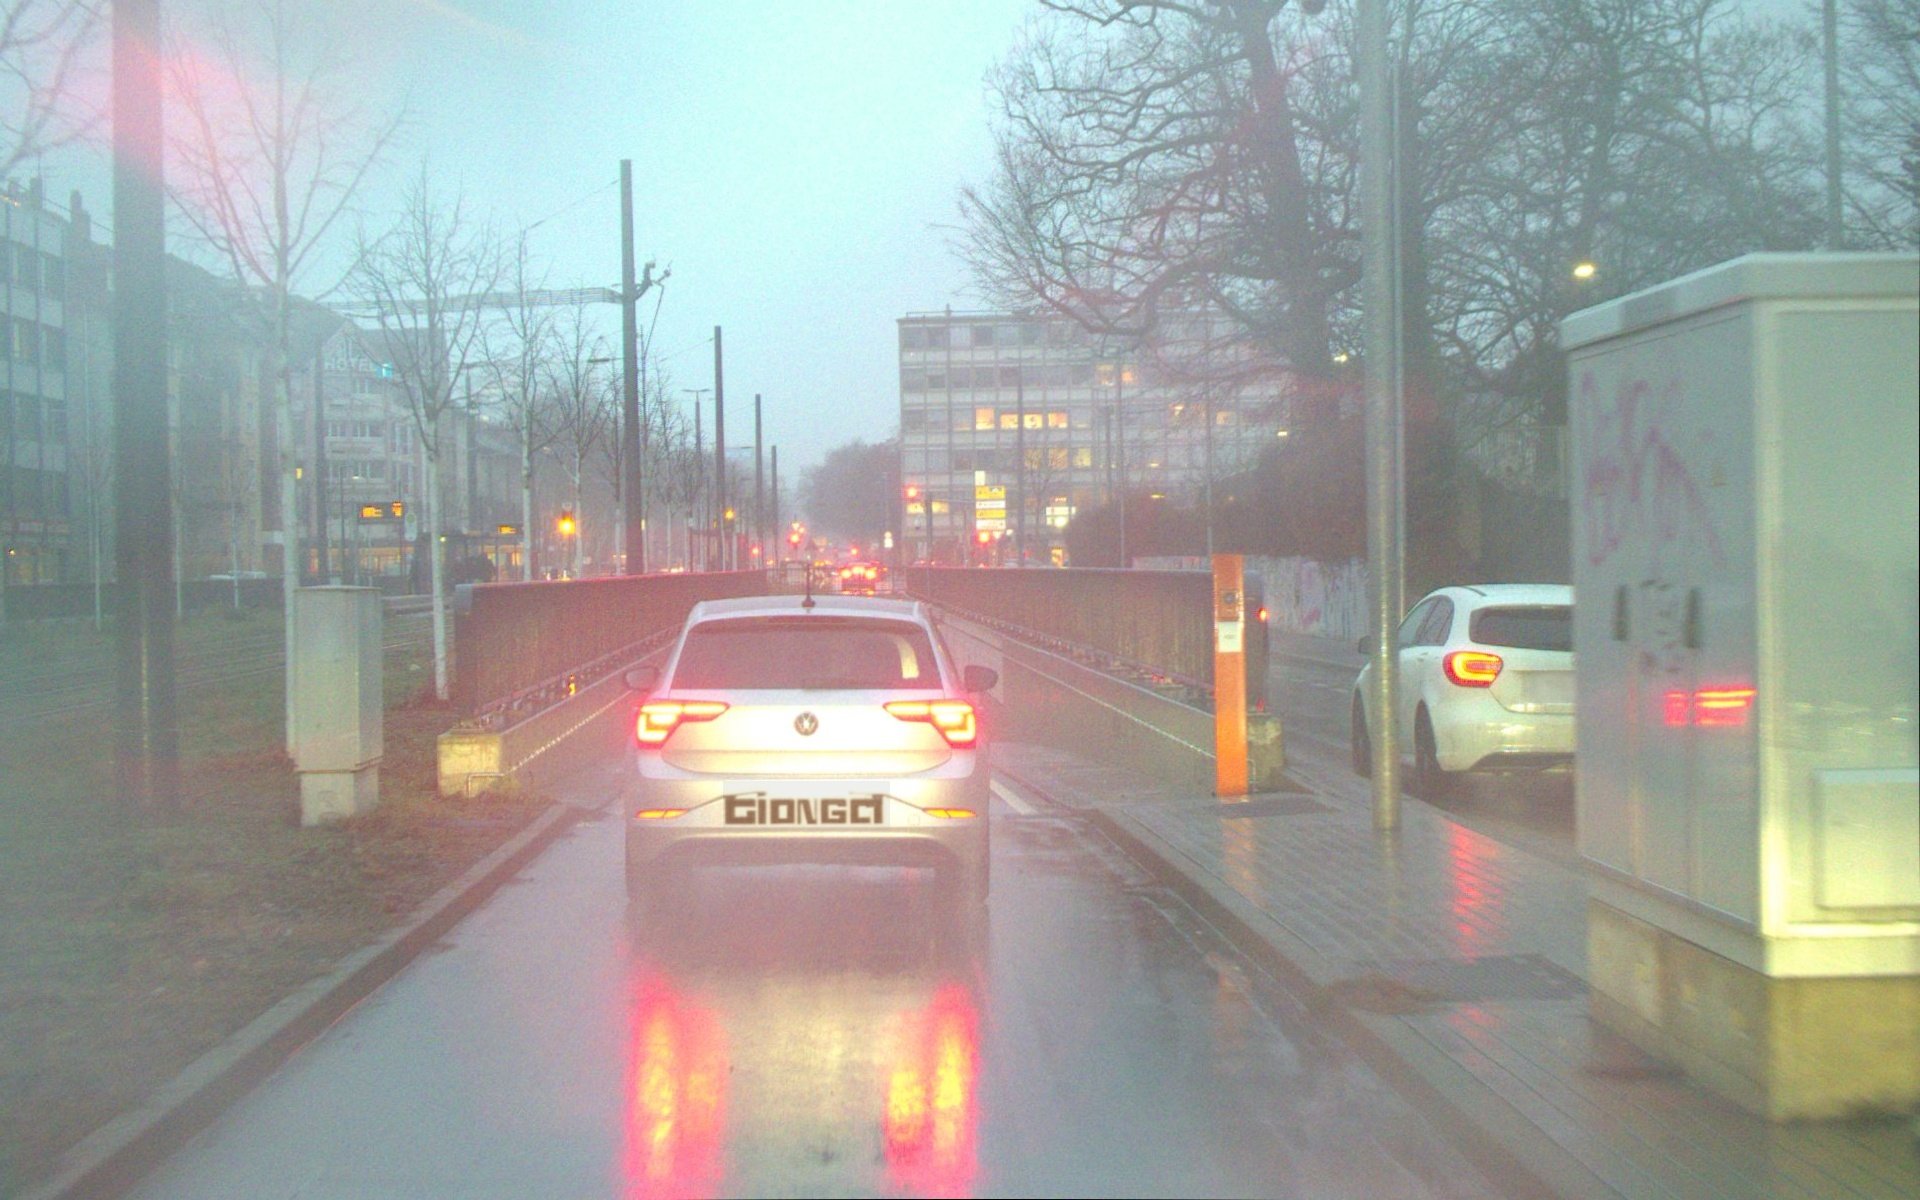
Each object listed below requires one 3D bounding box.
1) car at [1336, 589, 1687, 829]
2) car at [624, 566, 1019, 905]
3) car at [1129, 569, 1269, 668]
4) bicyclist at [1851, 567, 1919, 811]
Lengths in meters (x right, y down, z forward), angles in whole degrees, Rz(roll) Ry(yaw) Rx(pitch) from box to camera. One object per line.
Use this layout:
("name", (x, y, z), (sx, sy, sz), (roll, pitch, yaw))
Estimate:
("car", (3.677, 0.685, 23.563), (1.722, 1.474, 4.000), (1, 0, 0))
("car", (-0.621, 0.598, 17.240), (1.722, 1.474, 4.000), (1, 0, 0))
("car", (3.268, 0.247, 47.648), (1.623, 1.295, 4.000), (1, 0, 0))
("bicyclist", (6.348, 0.579, 23.000), (0.500, 1.586, 0.837), (-1, 1, -3))
